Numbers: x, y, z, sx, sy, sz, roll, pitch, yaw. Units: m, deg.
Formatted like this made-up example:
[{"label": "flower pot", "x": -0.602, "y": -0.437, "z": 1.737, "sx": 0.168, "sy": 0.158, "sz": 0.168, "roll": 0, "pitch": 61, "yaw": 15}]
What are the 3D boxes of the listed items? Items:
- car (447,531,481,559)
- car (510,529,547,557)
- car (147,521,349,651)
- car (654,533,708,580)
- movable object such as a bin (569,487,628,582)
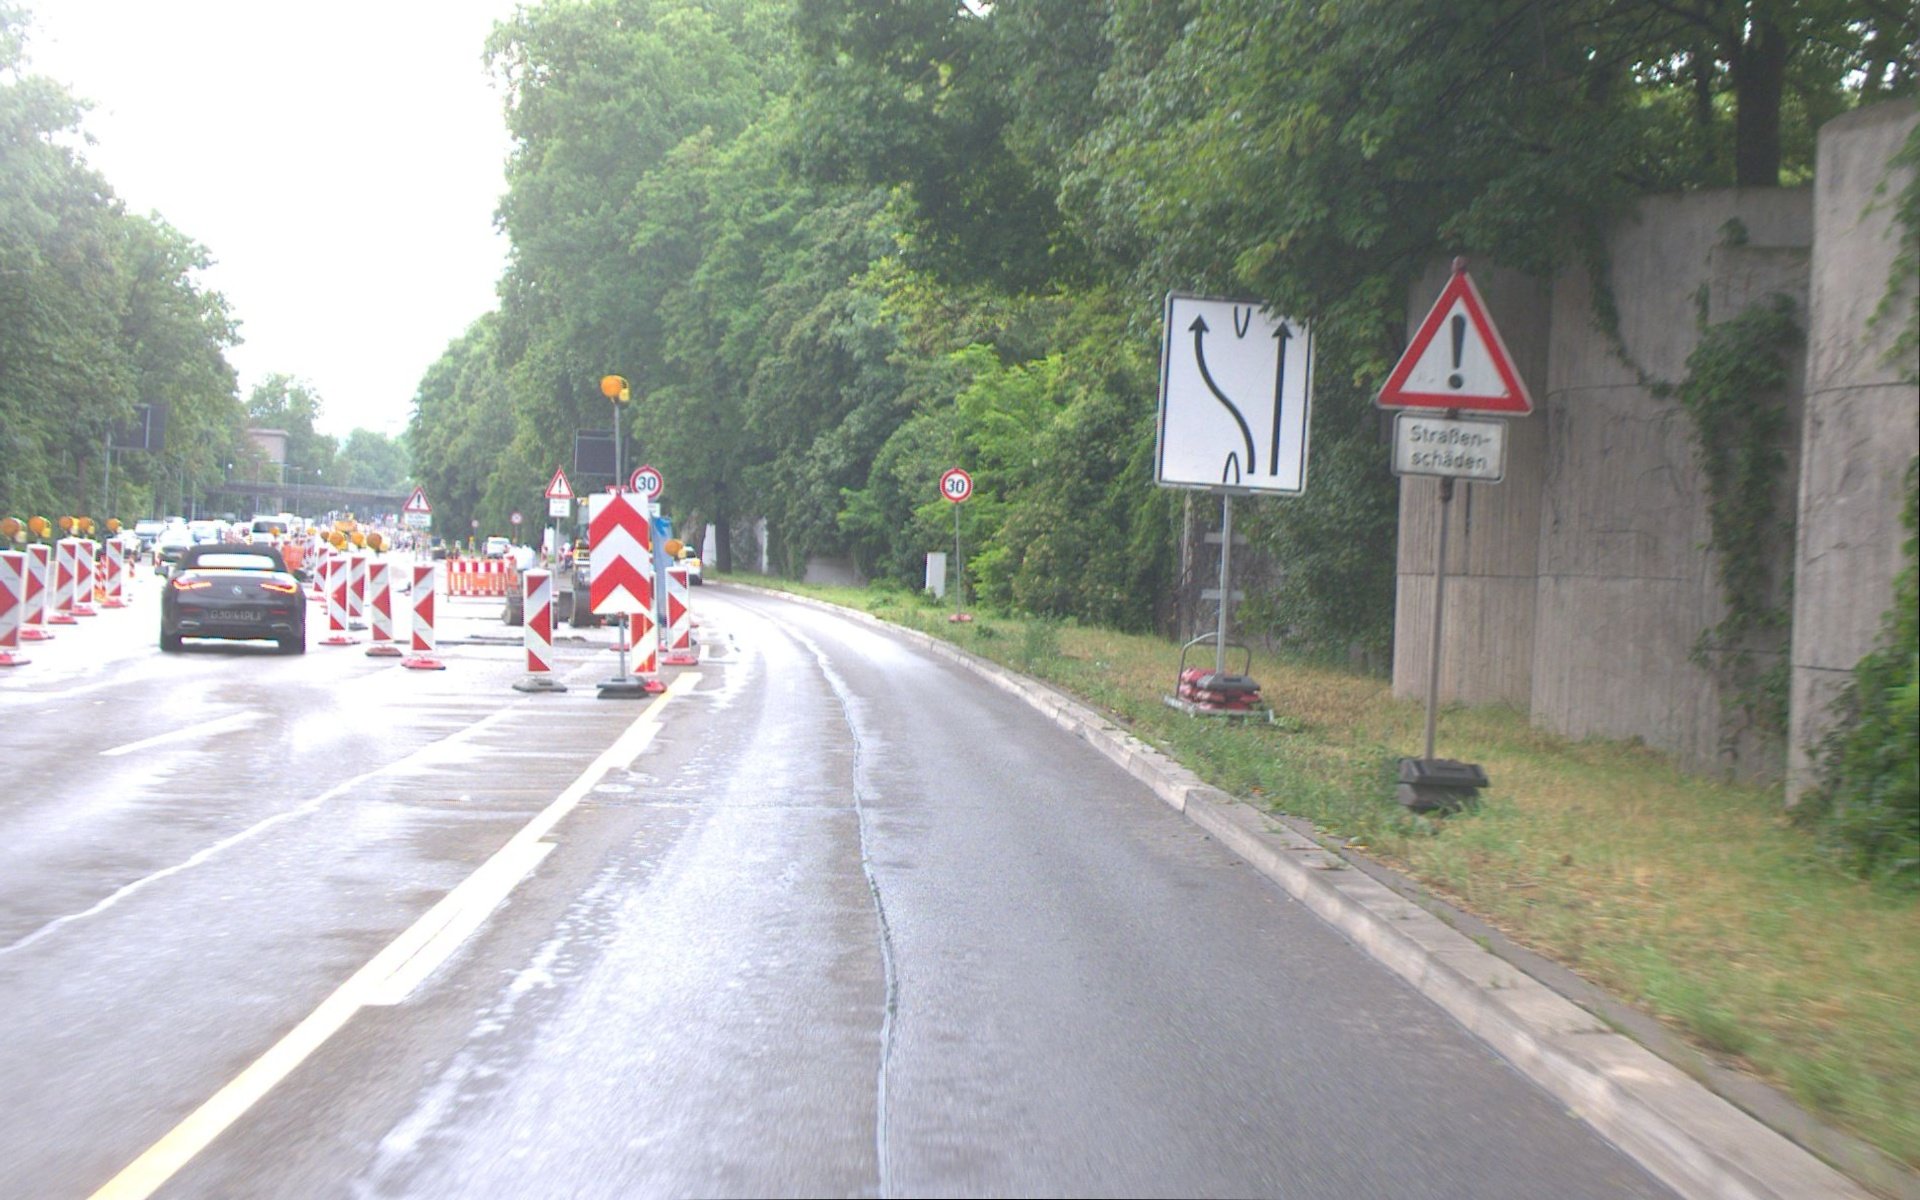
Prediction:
[{"label": "car", "x": -32.113, "y": -3.593, "z": 222.610, "sx": 1.875, "sy": 1.612, "sz": 4.001, "roll": 4, "pitch": 1, "yaw": -5}, {"label": "car", "x": -23.956, "y": -3.170, "z": 190.777, "sx": 1.756, "sy": 1.339, "sz": 4.002, "roll": 3, "pitch": 2, "yaw": -10}, {"label": "car", "x": -9.354, "y": -0.216, "z": 45.450, "sx": 1.862, "sy": 1.486, "sz": 4.001, "roll": 3, "pitch": 2, "yaw": -1}, {"label": "car", "x": -10.448, "y": -1.658, "z": 128.697, "sx": 1.914, "sy": 1.592, "sz": 4.835, "roll": 2, "pitch": 2, "yaw": -5}, {"label": "movable object such as a bin", "x": -11.135, "y": -2.019, "z": 105.806, "sx": 1.746, "sy": 2.857, "sz": 3.535, "roll": 1, "pitch": 1, "yaw": -6}]
